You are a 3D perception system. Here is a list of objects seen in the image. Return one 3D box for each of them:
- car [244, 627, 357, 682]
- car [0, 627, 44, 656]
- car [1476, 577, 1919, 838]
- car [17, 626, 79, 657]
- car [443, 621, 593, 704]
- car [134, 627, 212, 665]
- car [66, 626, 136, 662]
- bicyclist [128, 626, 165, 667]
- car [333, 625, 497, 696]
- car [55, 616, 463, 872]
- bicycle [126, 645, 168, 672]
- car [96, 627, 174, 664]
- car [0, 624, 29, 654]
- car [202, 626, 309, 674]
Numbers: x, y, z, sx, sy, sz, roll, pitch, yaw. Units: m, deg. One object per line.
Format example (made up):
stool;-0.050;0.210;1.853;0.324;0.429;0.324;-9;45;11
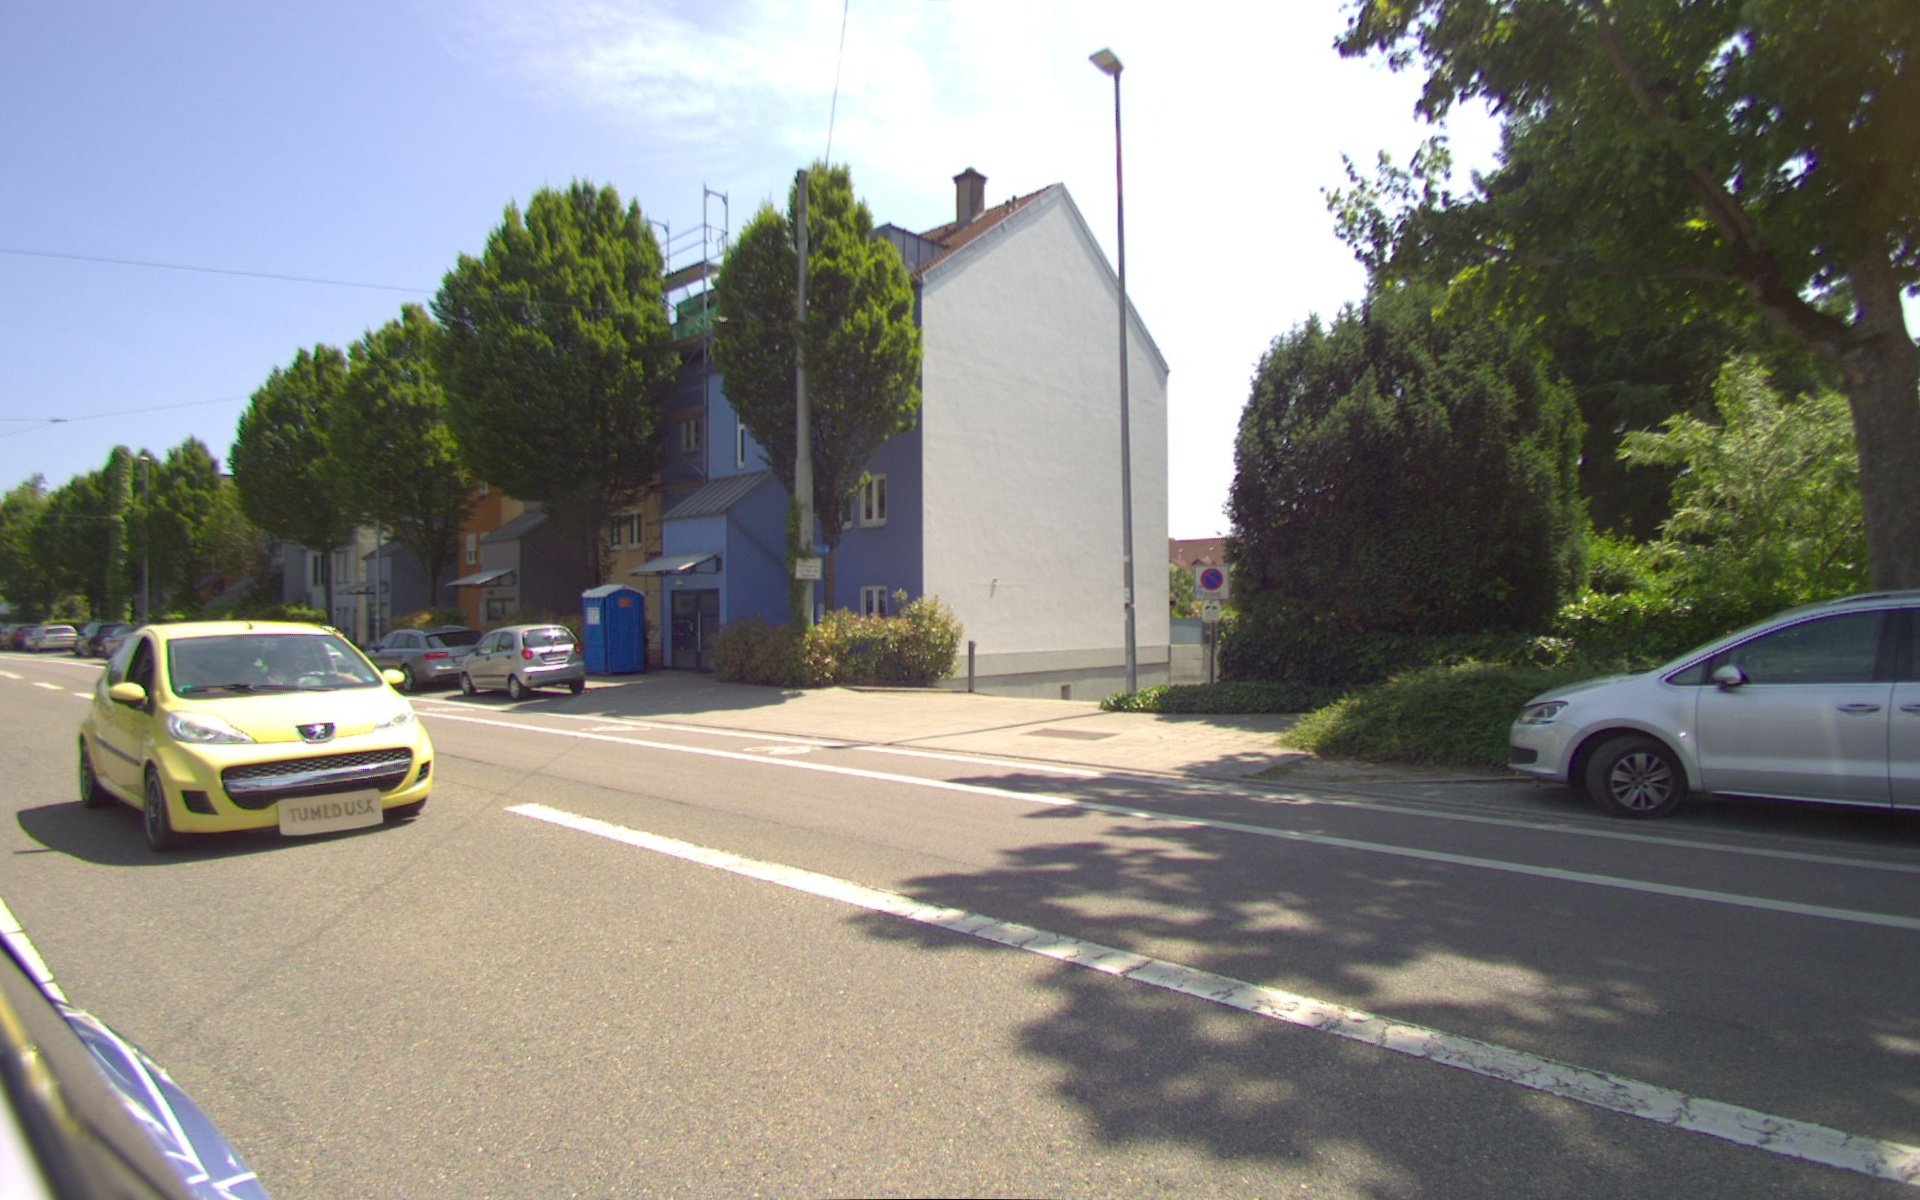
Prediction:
car;-20.886;1.682;31.983;4.417;1.453;1.729;-2;3;41
car;-55.874;2.474;59.976;3.673;1.606;1.586;-2;0;35
car;6.604;0.695;7.337;4.778;1.677;1.853;-2;-1;41
car;-51.019;2.332;56.606;4.490;1.594;1.823;-2;0;38
car;-9.571;1.295;21.825;3.447;1.506;1.577;-2;3;41
car;-33.327;1.930;42.822;4.254;1.443;1.732;-2;1;40
car;-42.127;2.128;49.604;4.142;1.601;1.750;-2;0;38
bicyclist;-29.164;1.661;36.294;1.123;1.442;0.728;-1;-5;38
car;-13.671;1.469;25.254;5.129;1.461;1.769;-3;2;40
car;-5.380;0.878;7.625;3.513;1.421;1.673;-2;0;40
bicycle;-29.229;2.096;36.369;2.240;0.958;0.695;-2;-4;39
car;-37.548;2.039;46.012;4.752;1.507;1.807;-2;0;39
car;-60.033;2.403;63.122;4.548;1.807;1.976;-1;-1;35
car;-24.832;1.733;35.621;4.744;1.440;1.688;-2;3;38
